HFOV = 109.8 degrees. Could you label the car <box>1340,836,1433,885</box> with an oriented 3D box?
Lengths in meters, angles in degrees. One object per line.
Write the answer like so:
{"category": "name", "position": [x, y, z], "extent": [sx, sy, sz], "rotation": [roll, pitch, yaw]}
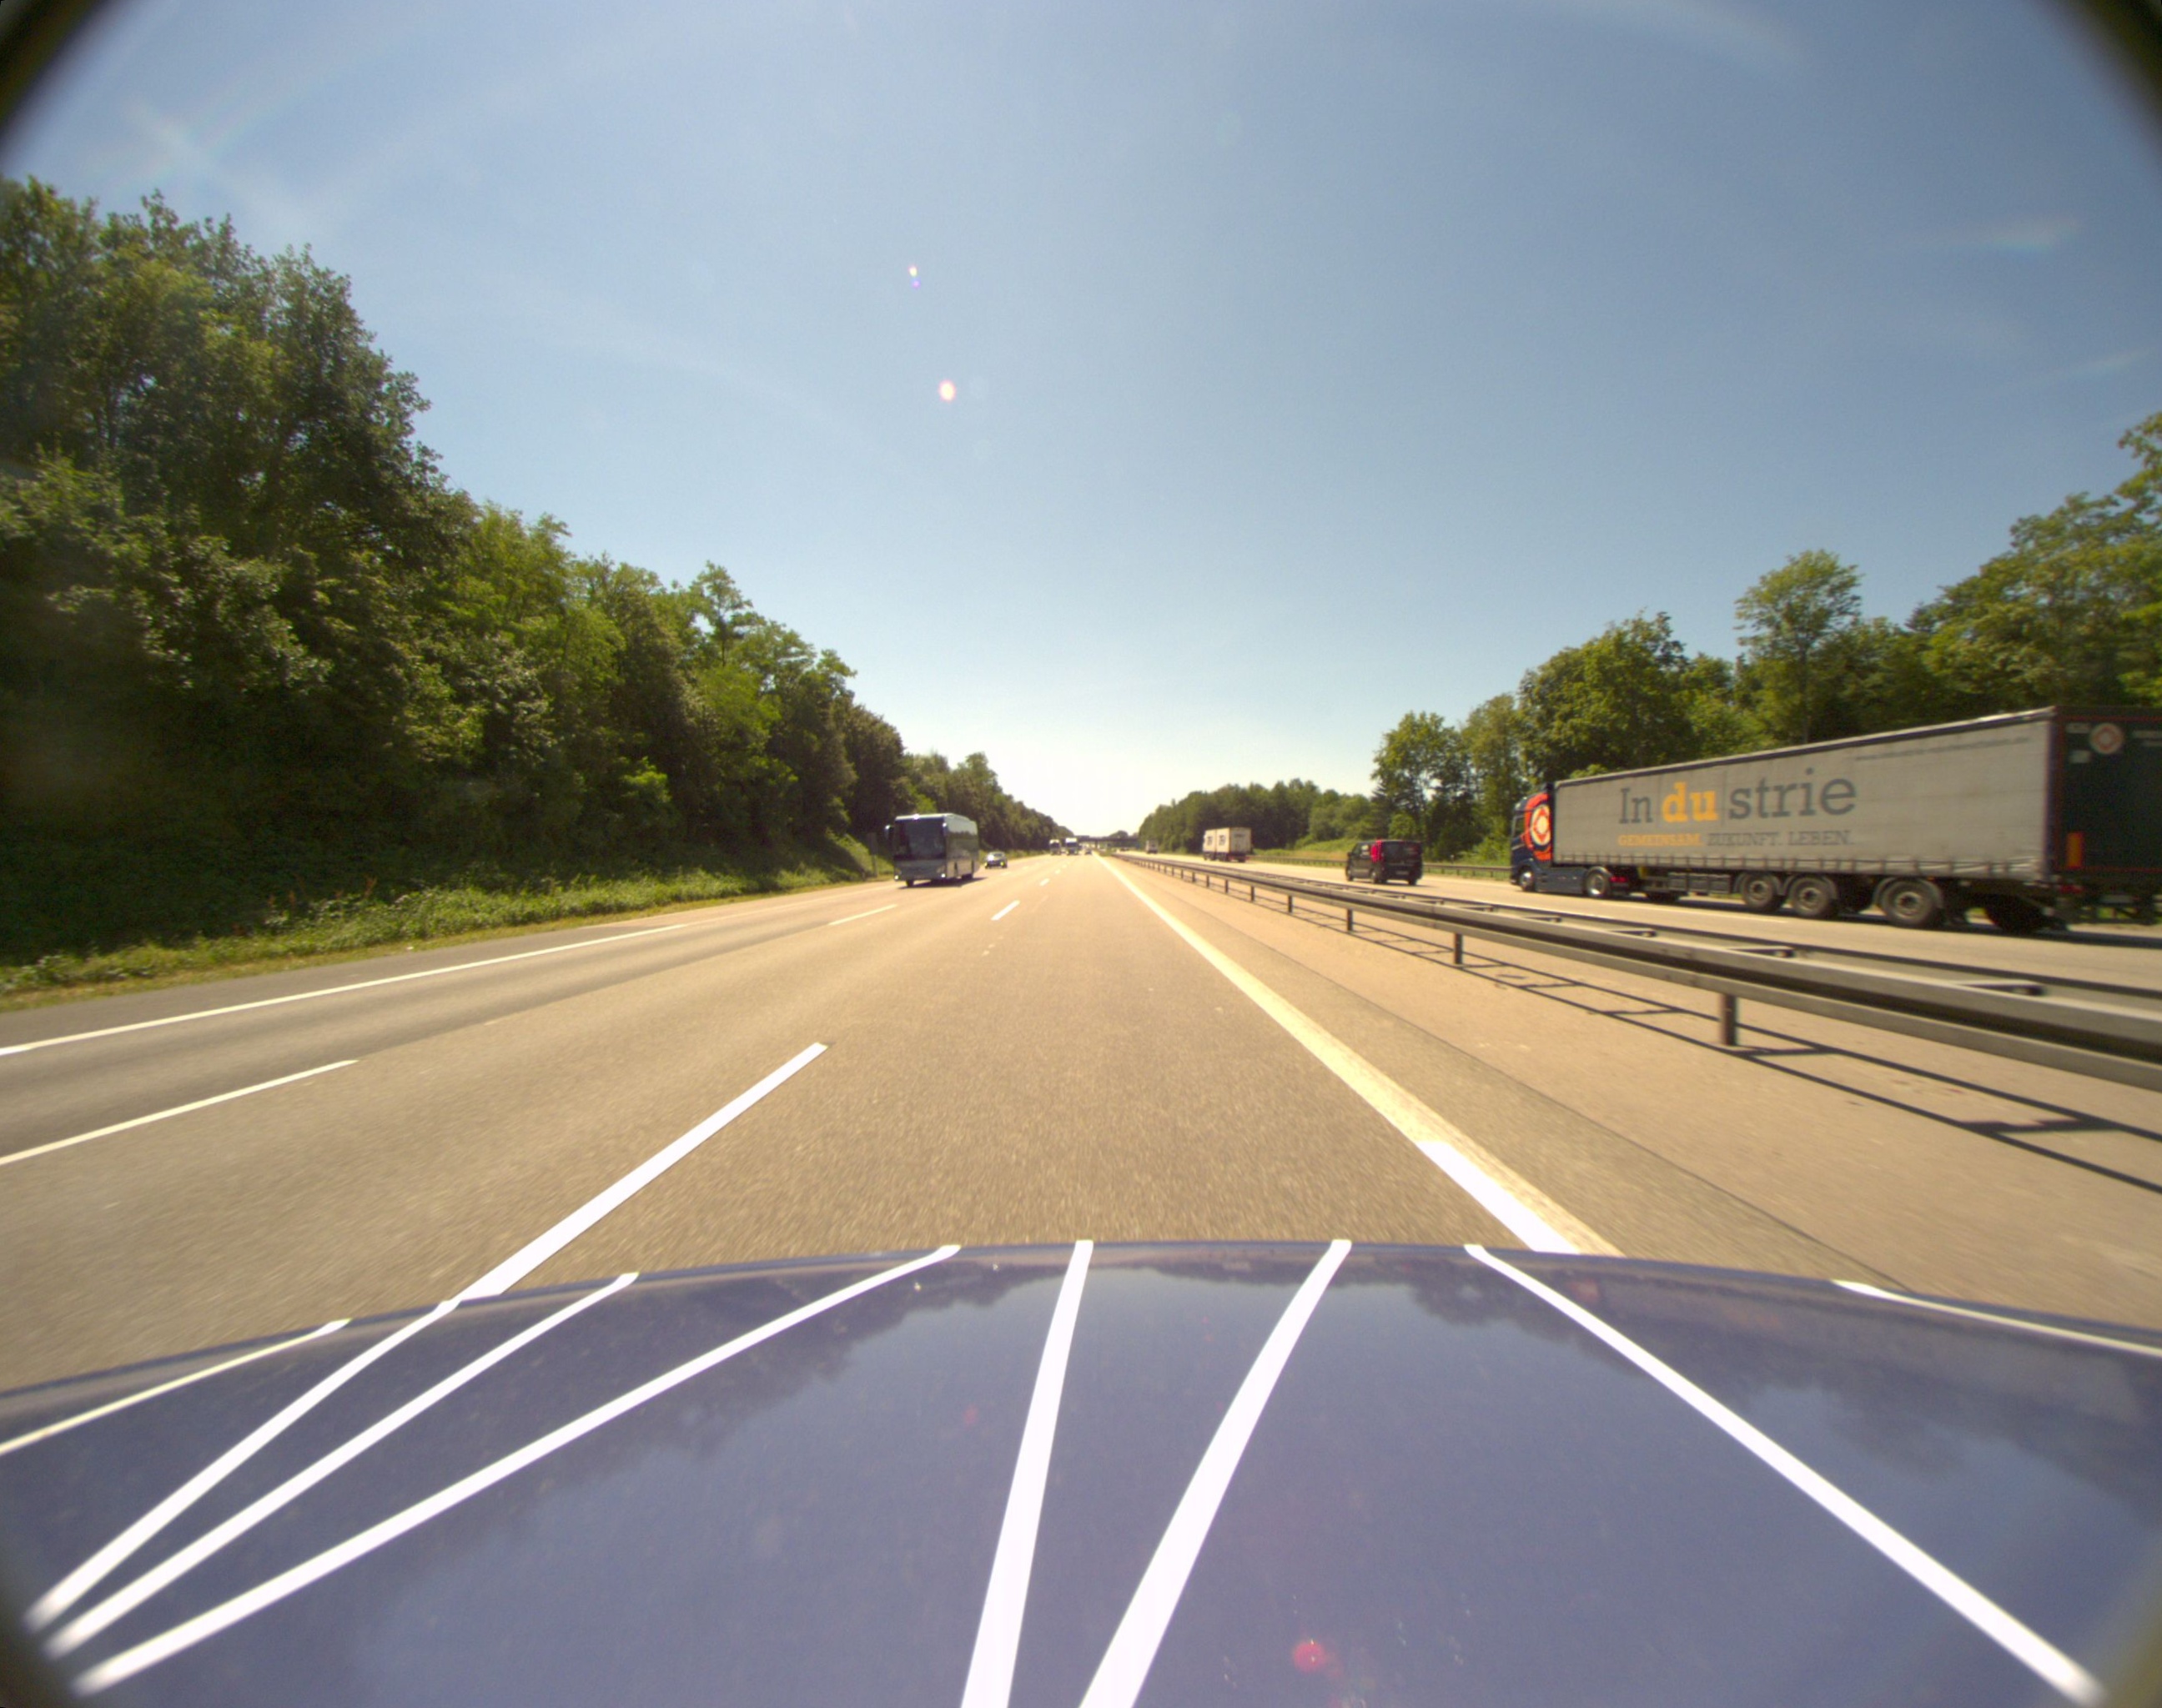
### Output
{"category": "car", "position": [13.528, 0.221, 34.041], "extent": [1.998, 2.002, 5.358], "rotation": [1, 1, 1]}

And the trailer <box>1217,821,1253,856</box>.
{"category": "trailer", "position": [18.378, -1.863, 91.085], "extent": [2.585, 3.967, 8.557], "rotation": [-2, 1, 0]}

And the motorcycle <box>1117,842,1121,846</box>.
{"category": "motorcycle", "position": [12.506, -3.241, 250.981], "extent": [1.037, 1.260, 2.577], "rotation": [-2, 1, 0]}

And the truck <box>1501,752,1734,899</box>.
{"category": "truck", "position": [18.020, -0.913, 26.230], "extent": [3.332, 4.317, 6.611], "rotation": [-2, 1, 0]}

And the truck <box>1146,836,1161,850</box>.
{"category": "truck", "position": [19.518, -3.070, 205.811], "extent": [3.002, 3.599, 10.268], "rotation": [-2, 1, 0]}

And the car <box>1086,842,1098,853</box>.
{"category": "car", "position": [2.530, -1.602, 176.597], "extent": [2.616, 2.390, 7.122], "rotation": [-2, 1, 0]}

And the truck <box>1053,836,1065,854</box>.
{"category": "truck", "position": [-5.730, -2.457, 200.642], "extent": [2.616, 4.639, 10.959], "rotation": [-2, 1, 0]}

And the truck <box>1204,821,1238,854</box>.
{"category": "truck", "position": [18.427, -2.197, 100.571], "extent": [2.587, 3.985, 10.336], "rotation": [-2, 1, 0]}

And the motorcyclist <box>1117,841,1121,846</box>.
{"category": "motorcyclist", "position": [12.502, -3.412, 250.901], "extent": [1.043, 1.590, 1.151], "rotation": [-2, 2, 0]}

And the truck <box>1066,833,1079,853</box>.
{"category": "truck", "position": [-2.034, -2.682, 184.746], "extent": [2.616, 4.639, 10.959], "rotation": [-2, 1, 0]}

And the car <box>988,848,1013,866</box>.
{"category": "car", "position": [-7.570, 0.257, 71.906], "extent": [1.814, 1.607, 3.999], "rotation": [-2, 1, 1]}

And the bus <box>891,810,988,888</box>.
{"category": "bus", "position": [-7.450, -0.356, 42.312], "extent": [2.617, 3.532, 13.679], "rotation": [-2, 1, 1]}

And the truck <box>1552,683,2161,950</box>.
{"category": "truck", "position": [17.983, -0.777, 19.389], "extent": [3.332, 4.317, 13.907], "rotation": [-2, 1, 0]}
